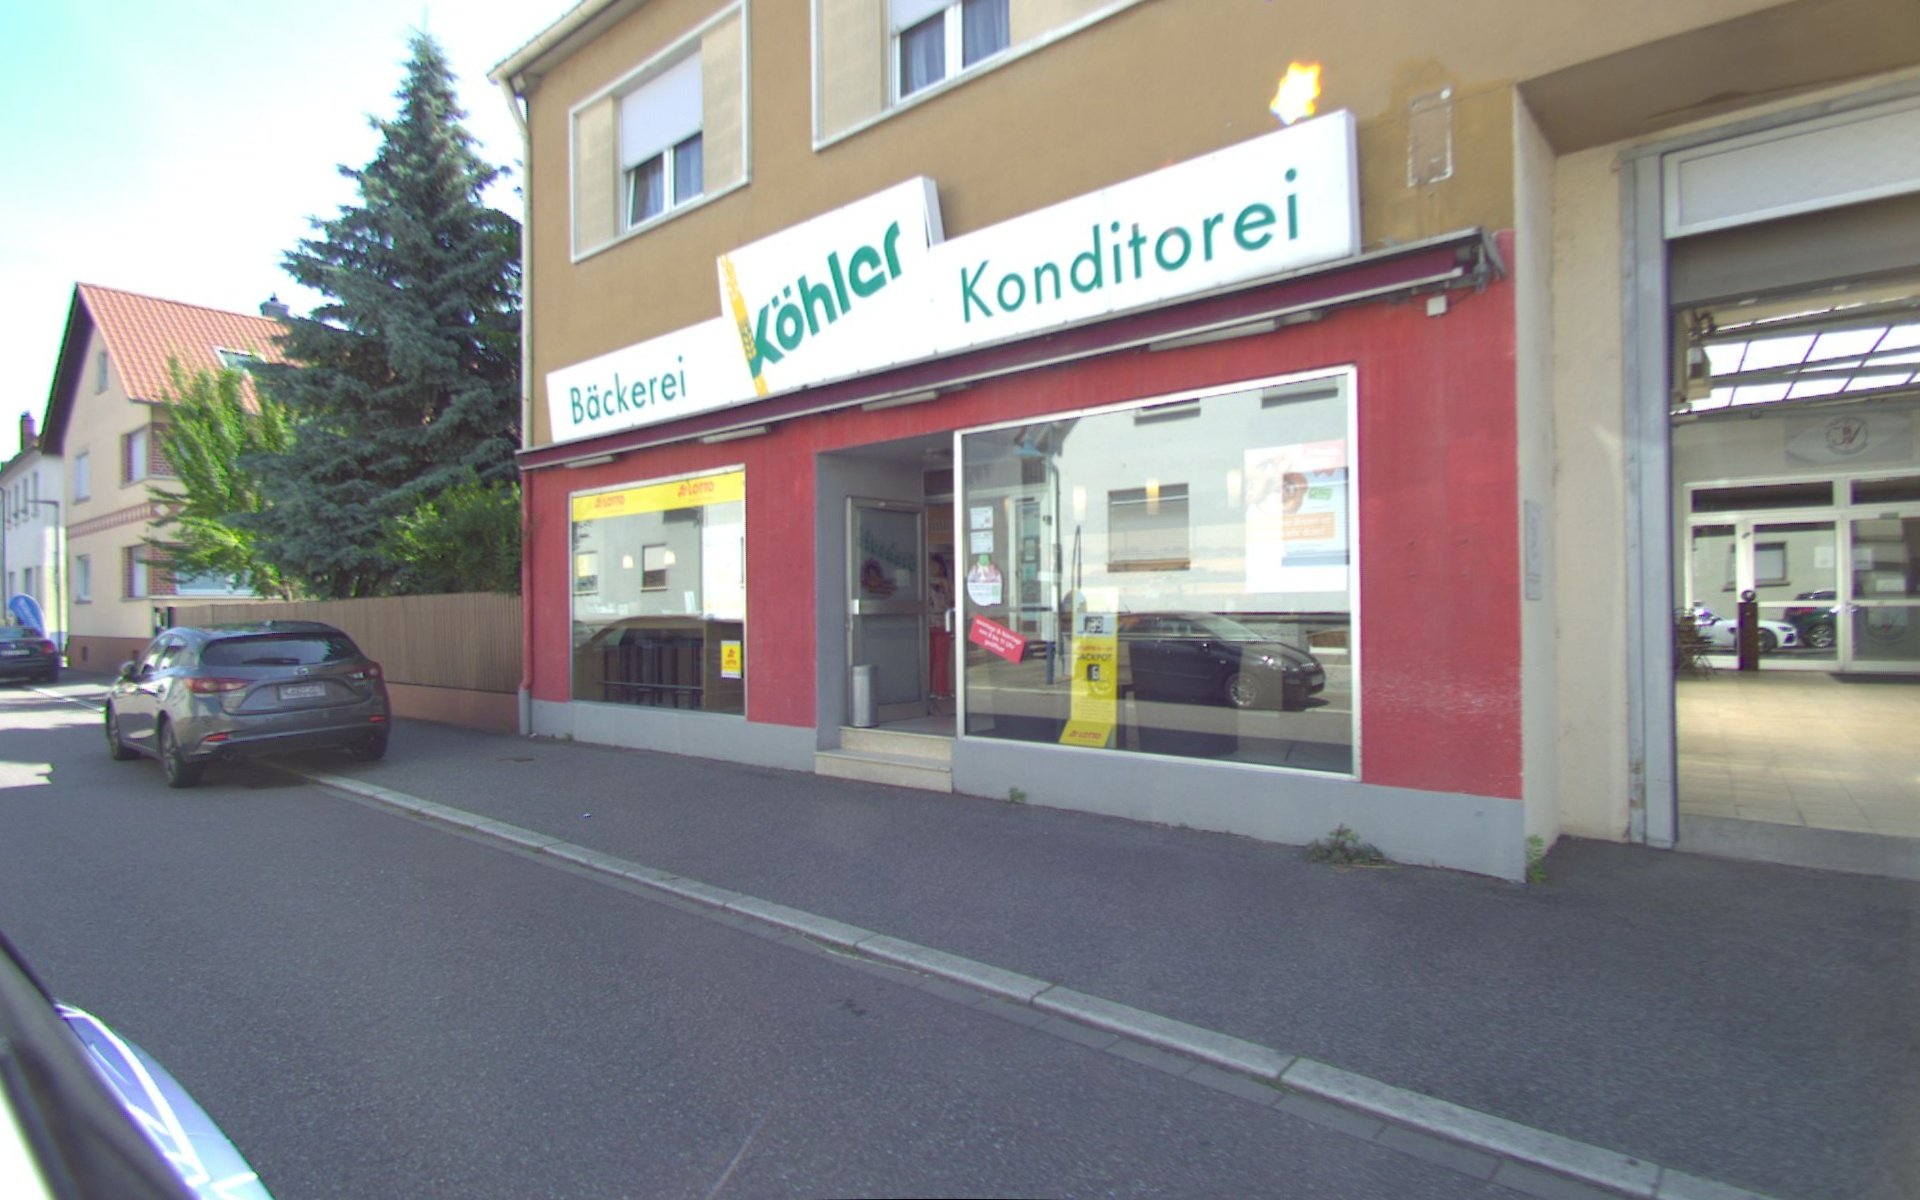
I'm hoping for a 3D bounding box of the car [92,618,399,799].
[{"bbox_3d":[-7.575,0.955,10.542,4.436,1.471,1.749,-2,-1,43],"label":"car"}]

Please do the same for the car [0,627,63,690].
[{"bbox_3d":[-23.244,1.381,24.510,4.064,1.384,1.743,-1,0,41],"label":"car"}]
